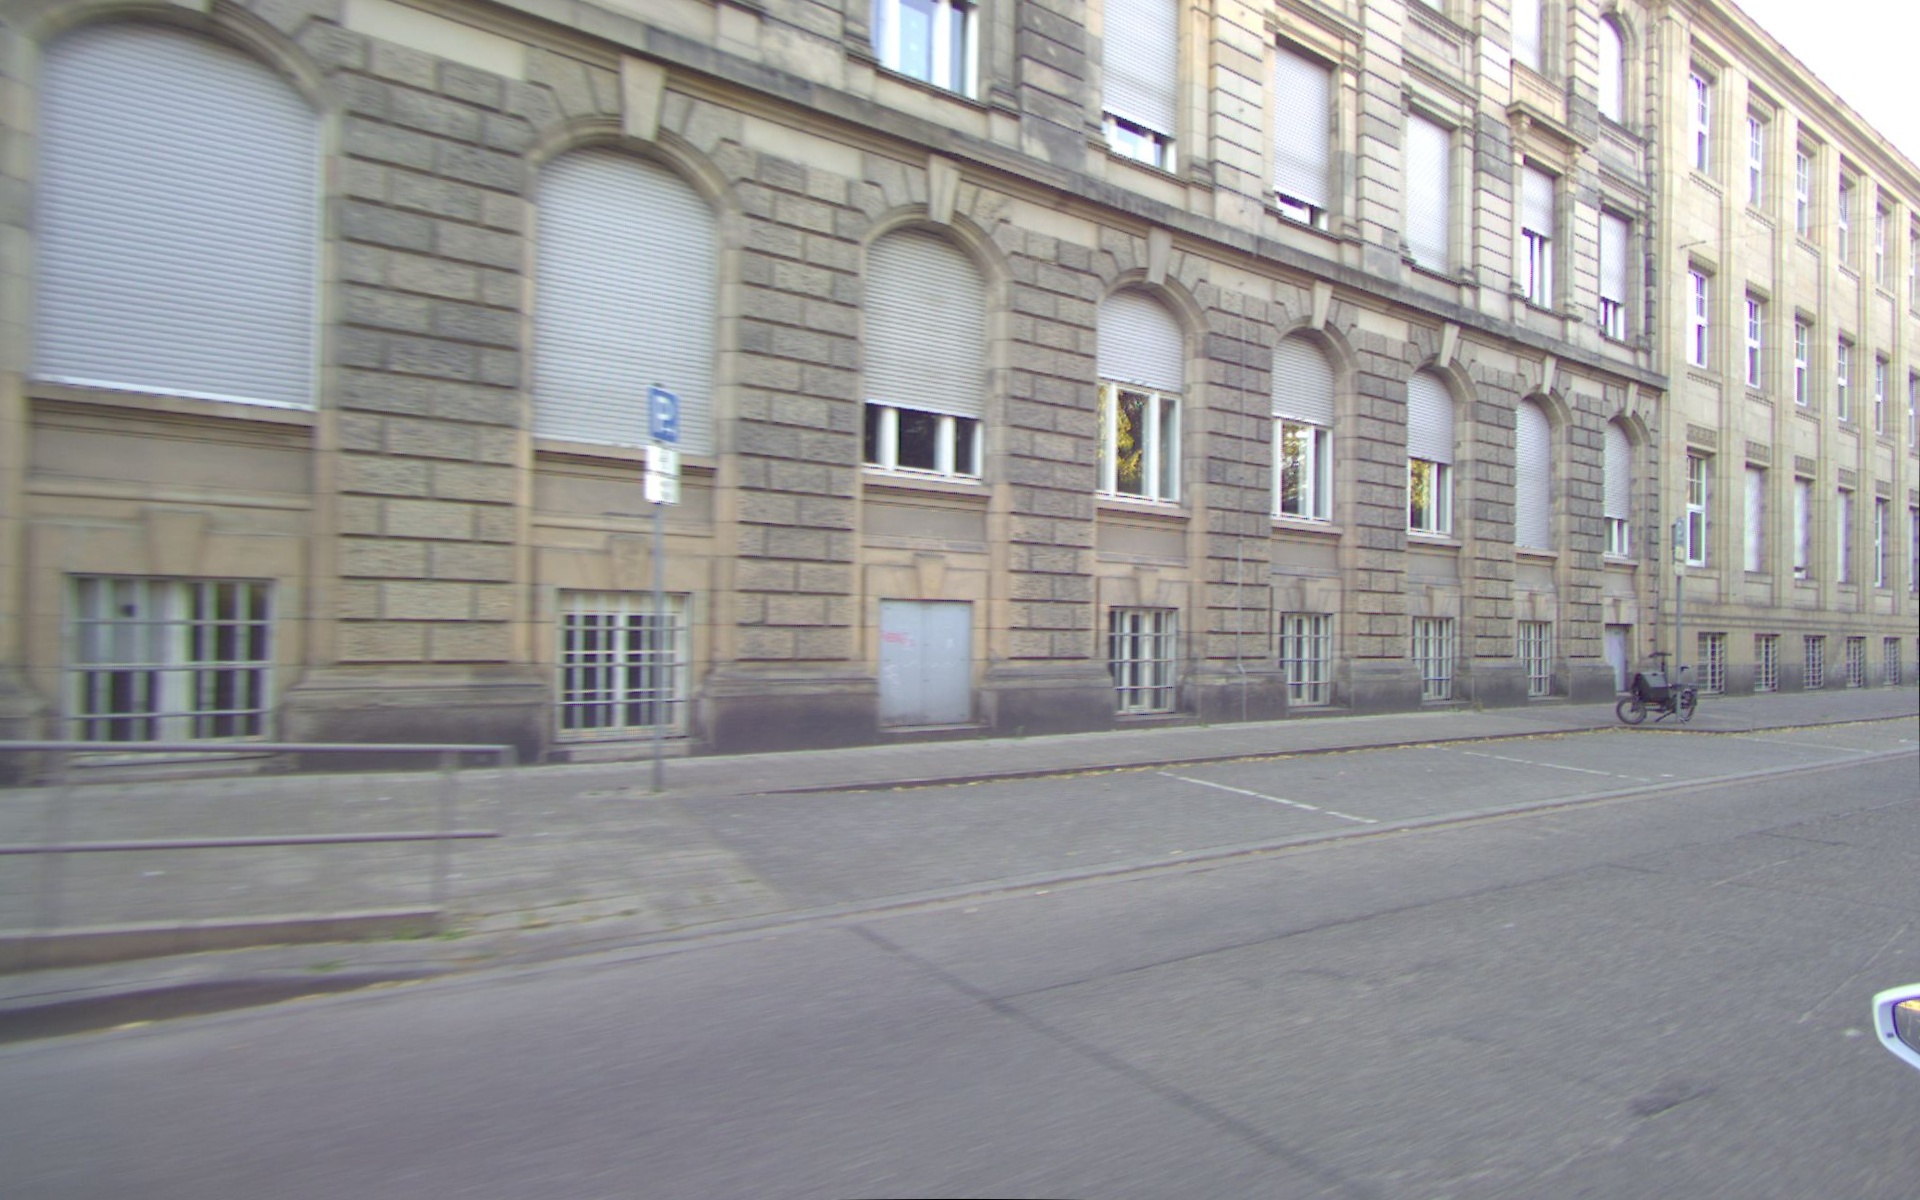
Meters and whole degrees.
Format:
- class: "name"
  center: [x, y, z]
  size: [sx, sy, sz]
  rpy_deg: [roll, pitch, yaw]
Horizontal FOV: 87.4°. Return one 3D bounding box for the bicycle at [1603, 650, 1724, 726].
- class: "bicycle"
  center: [11.436, 1.404, 16.311]
  size: [1.959, 1.116, 0.848]
  rpy_deg: [2, 0, -30]
